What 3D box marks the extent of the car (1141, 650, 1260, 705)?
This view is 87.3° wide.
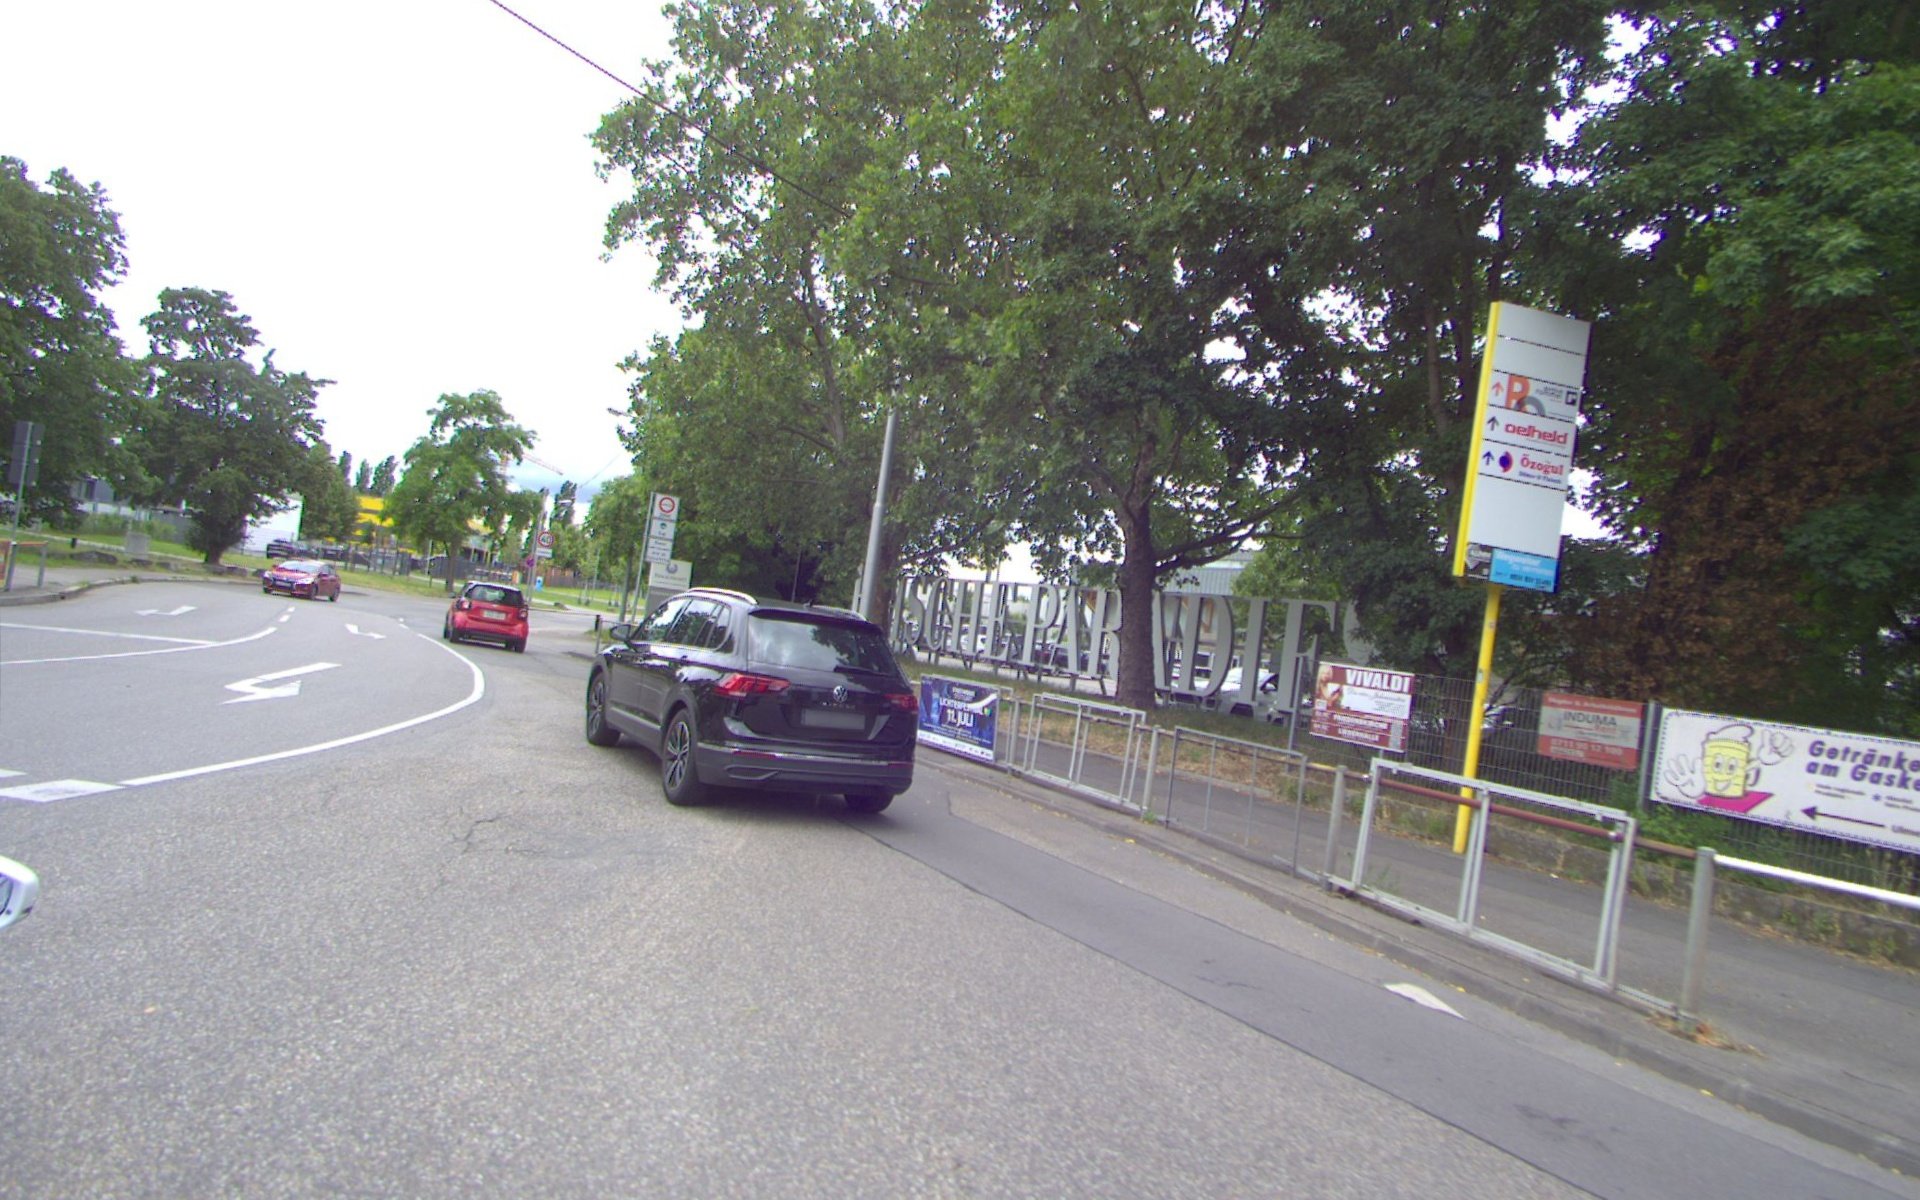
[{"bbox_3d":[9.872,3.198,41.216,4.597,1.579,1.983,10,-2,-33],"label":"car"}]

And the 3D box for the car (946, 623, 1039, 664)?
[{"bbox_3d":[1.792,2.372,54.639,4.597,1.576,1.983,10,-2,-33],"label":"car"}]

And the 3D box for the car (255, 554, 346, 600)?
[{"bbox_3d":[-25.224,-0.836,38.626,1.707,1.483,3.824,7,-2,-16],"label":"car"}]

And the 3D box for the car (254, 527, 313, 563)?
[{"bbox_3d":[-47.142,-3.808,70.192,1.942,2.036,4.206,9,-2,-16],"label":"car"}]

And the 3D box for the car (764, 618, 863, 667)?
[{"bbox_3d":[-6.106,1.778,42.000,3.700,1.522,1.467,10,-2,-36],"label":"car"}]

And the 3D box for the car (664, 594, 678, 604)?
[{"bbox_3d":[-48.525,-0.152,168.931,2.017,1.555,3.926,5,-1,-19],"label":"car"}]

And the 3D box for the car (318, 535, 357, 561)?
[{"bbox_3d":[-60.617,-5.019,97.976,1.942,2.036,4.206,9,-2,-16],"label":"car"}]

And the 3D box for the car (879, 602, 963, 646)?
[{"bbox_3d":[-2.423,1.525,63.078,4.779,2.037,1.983,9,-2,-33],"label":"car"}]

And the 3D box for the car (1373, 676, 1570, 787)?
[{"bbox_3d":[10.119,2.620,19.832,3.965,1.631,1.578,10,-2,-33],"label":"car"}]

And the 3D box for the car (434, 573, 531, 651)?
[{"bbox_3d":[-11.649,0.254,24.450,1.700,1.482,2.996,9,-1,-31],"label":"car"}]

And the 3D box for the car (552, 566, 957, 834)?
[{"bbox_3d":[-2.039,0.712,8.829,1.835,1.653,4.148,11,-4,-34],"label":"car"}]

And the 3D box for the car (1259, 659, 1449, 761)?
[{"bbox_3d":[8.704,2.444,22.107,4.279,1.631,1.578,10,-2,-33],"label":"car"}]

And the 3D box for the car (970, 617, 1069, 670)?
[{"bbox_3d":[3.074,2.242,51.585,4.597,2.037,1.983,9,-2,-33],"label":"car"}]

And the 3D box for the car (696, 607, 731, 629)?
[{"bbox_3d":[-19.781,1.441,80.915,1.685,1.422,3.376,8,-2,3],"label":"car"}]

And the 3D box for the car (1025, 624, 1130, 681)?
[{"bbox_3d":[5.631,2.528,48.076,4.597,2.037,1.983,9,-2,-33],"label":"car"}]

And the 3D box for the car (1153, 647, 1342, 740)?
[{"bbox_3d":[7.225,2.358,25.151,4.482,1.631,1.869,10,-2,-31],"label":"car"}]
